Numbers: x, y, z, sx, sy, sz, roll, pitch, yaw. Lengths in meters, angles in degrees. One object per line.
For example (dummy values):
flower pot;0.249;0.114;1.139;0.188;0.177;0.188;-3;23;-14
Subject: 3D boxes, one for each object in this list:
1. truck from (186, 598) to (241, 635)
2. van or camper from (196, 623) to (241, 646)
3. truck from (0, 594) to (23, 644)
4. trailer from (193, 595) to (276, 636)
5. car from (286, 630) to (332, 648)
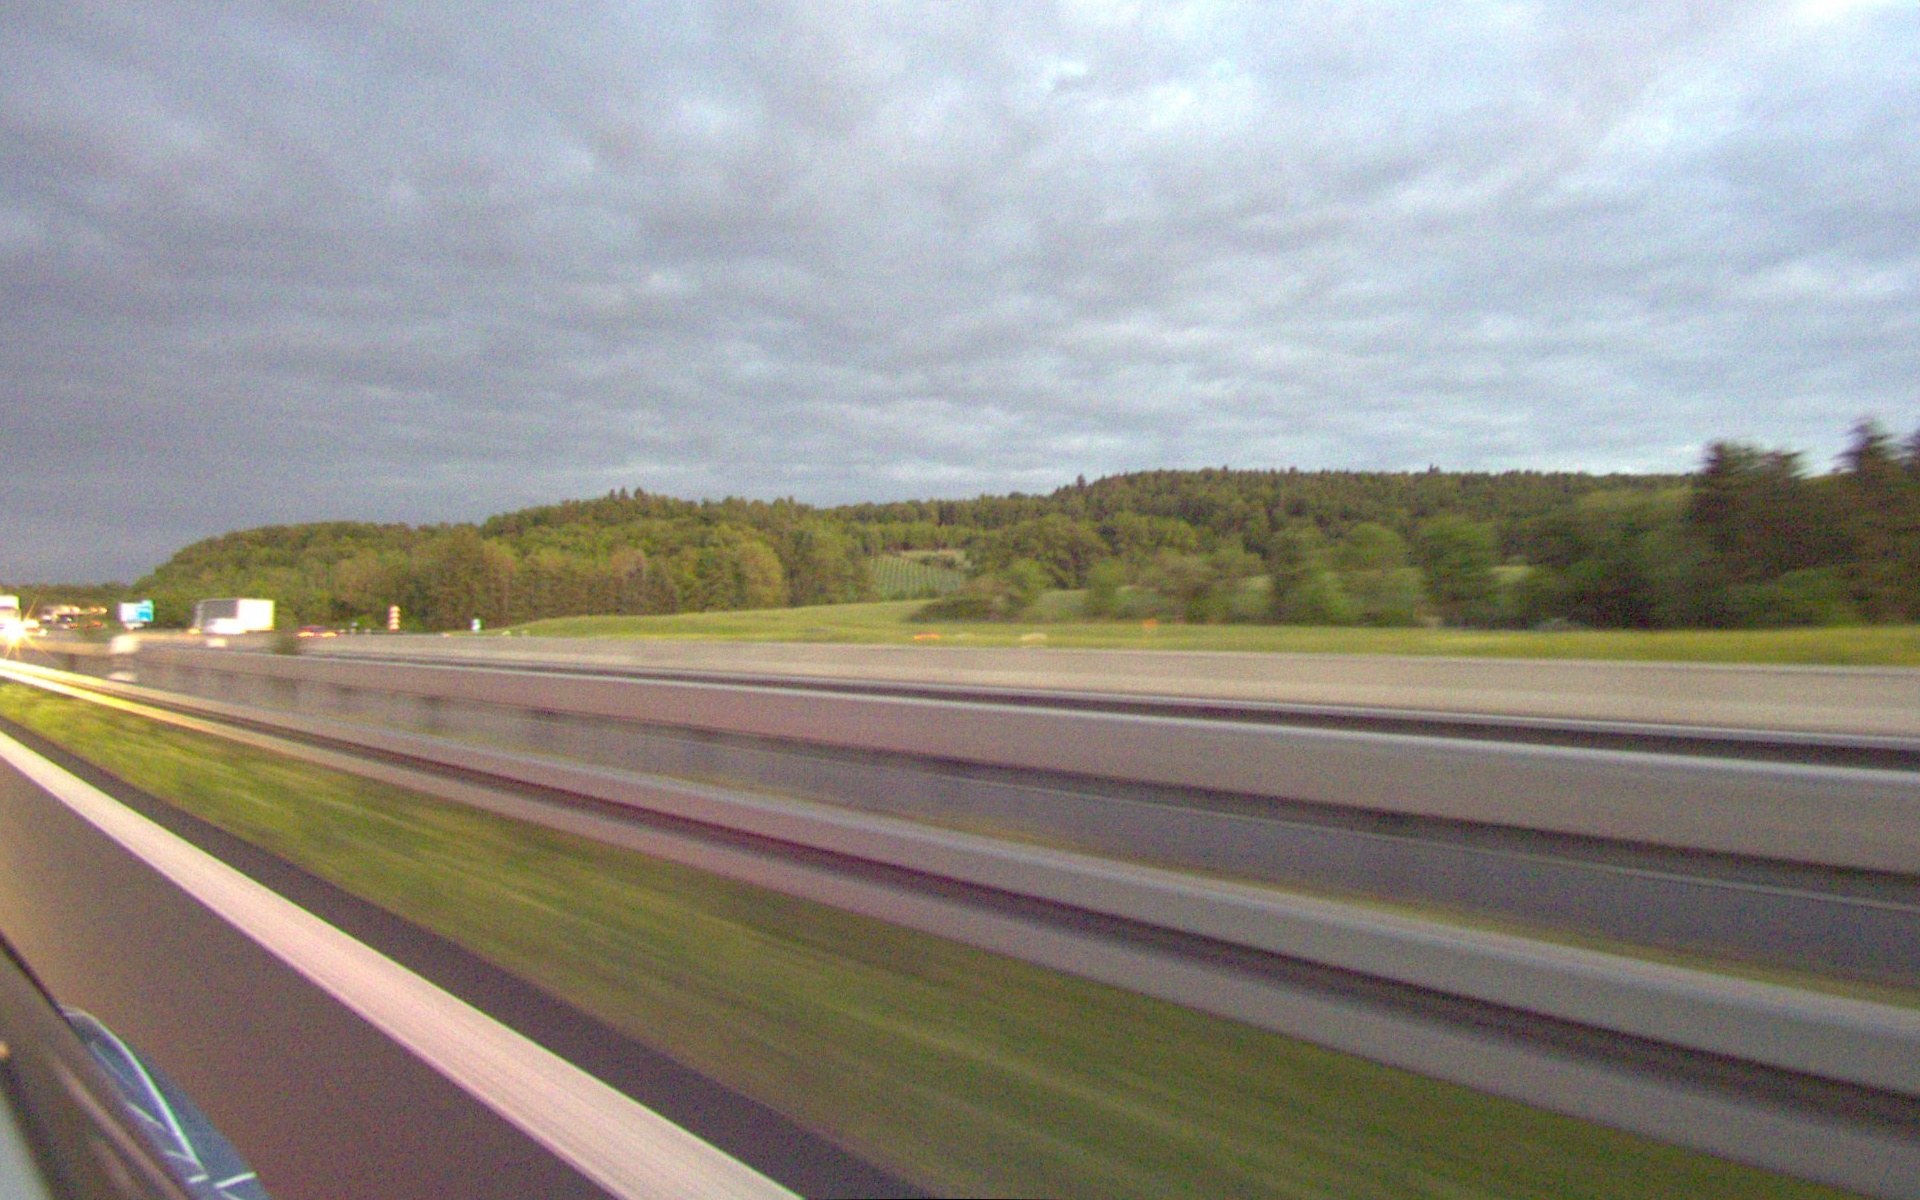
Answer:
truck;-75.888;1.700;102.845;5.494;3.647;3.276;-1;-2;41
van or camper;-63.511;2.945;86.647;5.535;1.921;1.872;-1;-1;40
truck;-86.394;1.709;90.246;9.885;4.334;3.007;-1;-2;41
trailer;-70.479;1.552;98.170;13.877;3.794;3.292;-1;-2;41
car;-47.462;2.813;73.778;4.211;1.259;1.734;-1;-2;41
